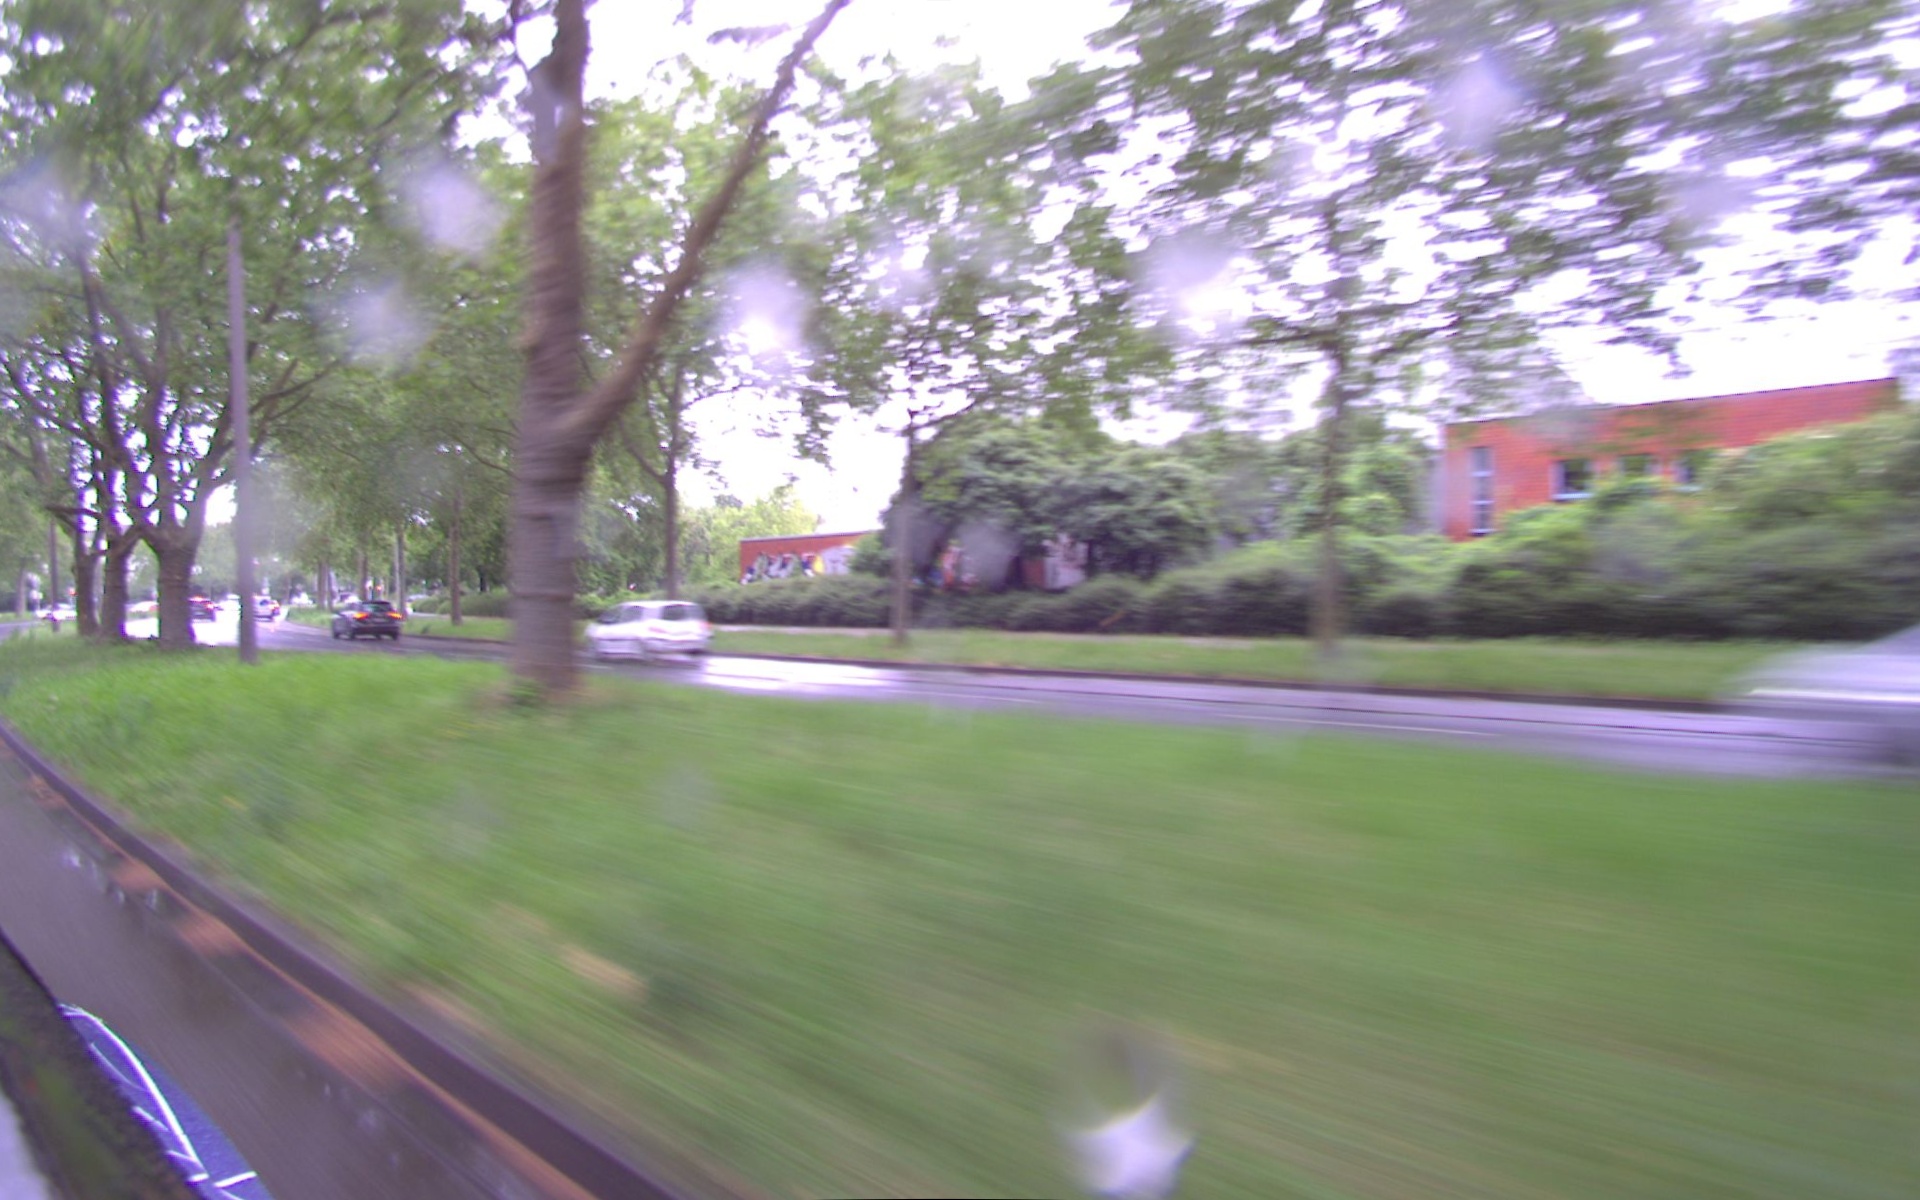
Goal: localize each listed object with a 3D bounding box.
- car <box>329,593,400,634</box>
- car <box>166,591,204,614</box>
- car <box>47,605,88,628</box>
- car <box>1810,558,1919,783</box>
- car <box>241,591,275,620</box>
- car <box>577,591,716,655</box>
[{"bbox_3d":[-24.609,0.535,41.740,1.722,1.573,4.374,-2,1,-41],"label":"car"},{"bbox_3d":[-61.668,0.184,80.594,2.002,1.749,4.968,-1,0,-34],"label":"car"},{"bbox_3d":[-69.901,1.275,79.337,1.967,1.641,4.532,-2,1,-36],"label":"car"},{"bbox_3d":[8.212,0.431,6.286,4.404,1.487,1.726,-1,0,39],"label":"car"},{"bbox_3d":[-57.553,0.420,83.040,2.002,2.243,5.450,-1,0,-32],"label":"car"},{"bbox_3d":[-7.921,0.549,25.372,3.844,1.470,1.723,-1,1,45],"label":"car"}]
